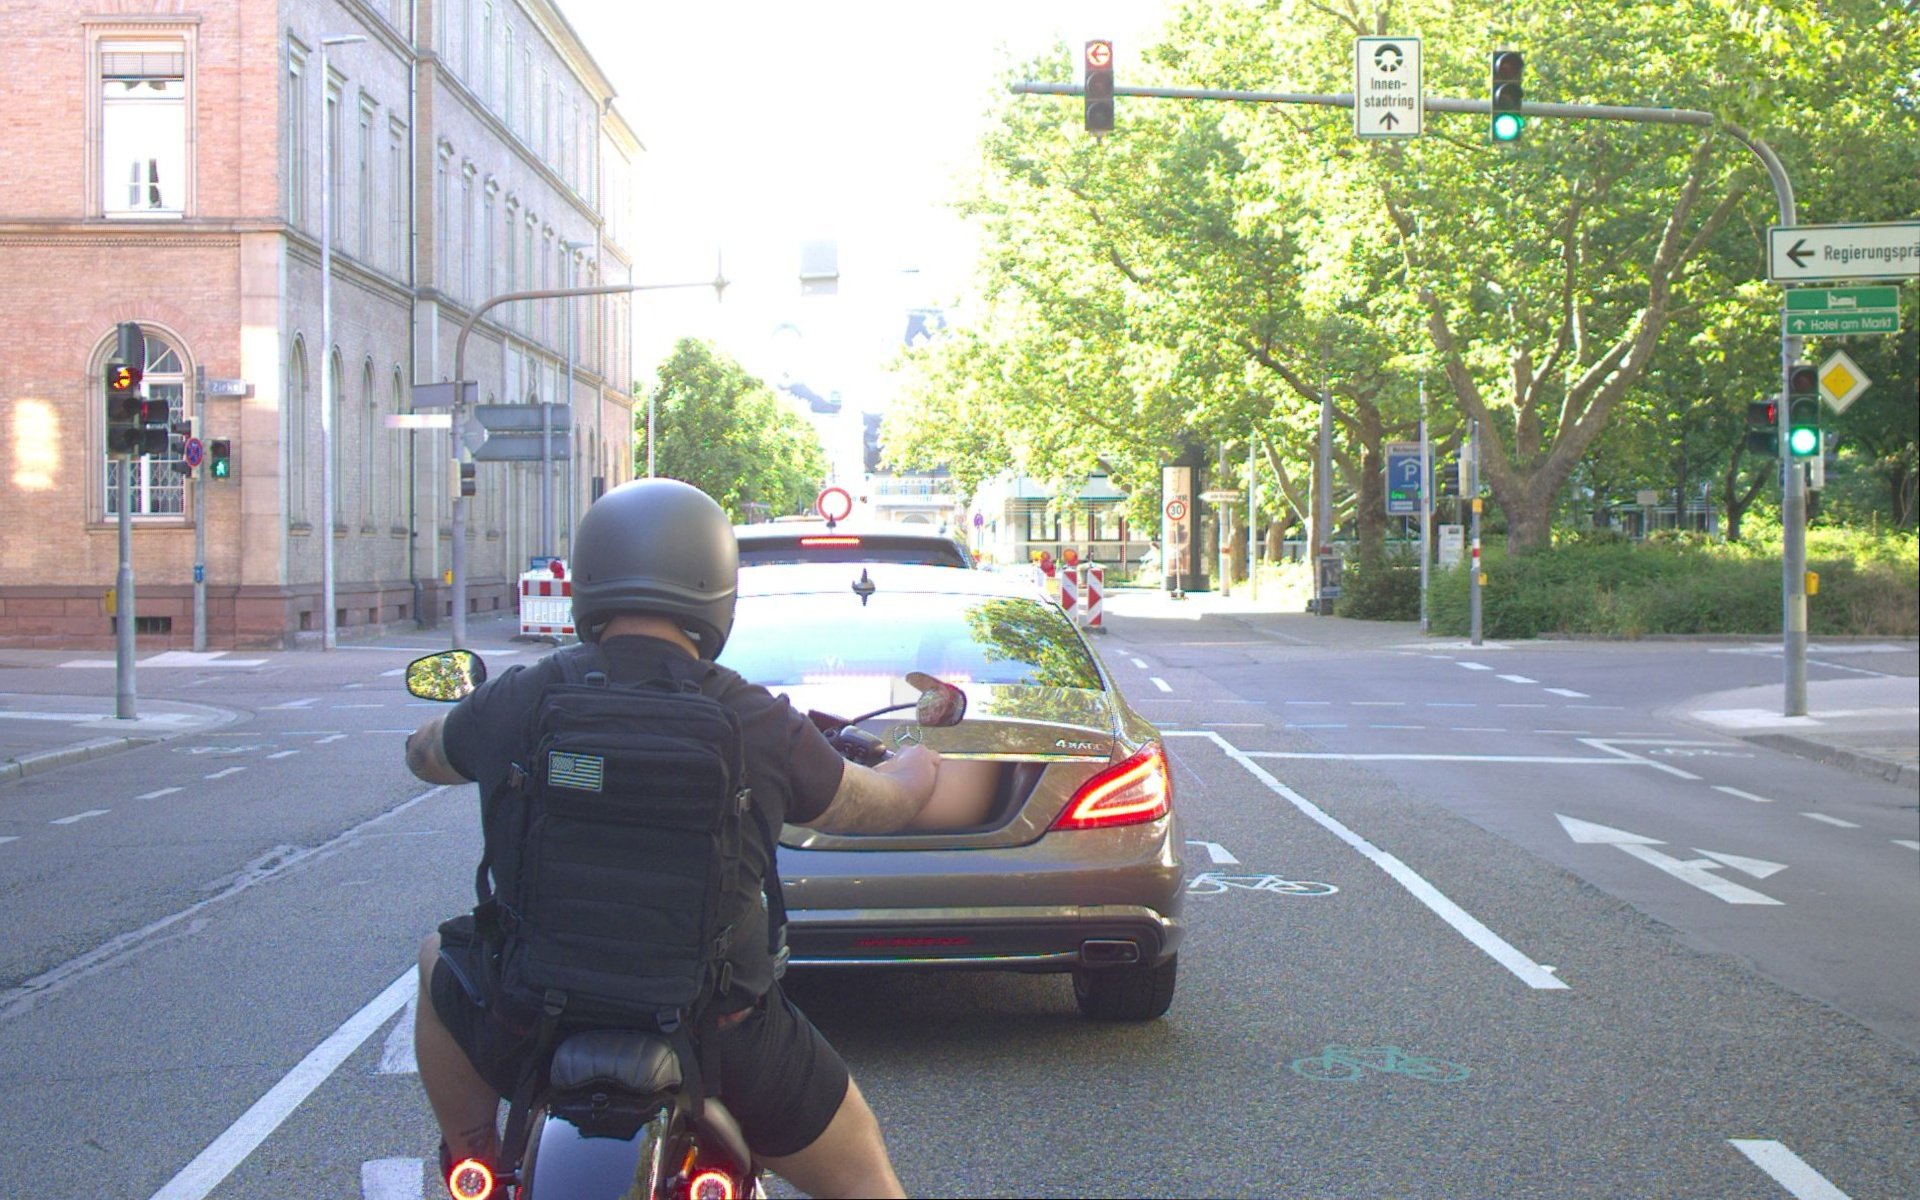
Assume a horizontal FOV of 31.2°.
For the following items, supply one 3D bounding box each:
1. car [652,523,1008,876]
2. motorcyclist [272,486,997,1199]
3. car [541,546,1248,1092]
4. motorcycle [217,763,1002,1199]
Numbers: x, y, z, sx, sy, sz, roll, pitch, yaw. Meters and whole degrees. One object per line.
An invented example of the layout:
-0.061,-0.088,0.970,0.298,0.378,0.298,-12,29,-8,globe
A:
-0.637,0.410,17.769,1.612,1.602,4.329,0,1,-1,car
-0.451,0.626,5.409,0.989,1.591,1.404,0,1,-1,motorcyclist
-0.431,0.560,11.603,1.945,1.468,4.363,0,1,-7,car
-0.455,0.882,5.568,0.989,1.075,2.452,0,1,-1,motorcycle
